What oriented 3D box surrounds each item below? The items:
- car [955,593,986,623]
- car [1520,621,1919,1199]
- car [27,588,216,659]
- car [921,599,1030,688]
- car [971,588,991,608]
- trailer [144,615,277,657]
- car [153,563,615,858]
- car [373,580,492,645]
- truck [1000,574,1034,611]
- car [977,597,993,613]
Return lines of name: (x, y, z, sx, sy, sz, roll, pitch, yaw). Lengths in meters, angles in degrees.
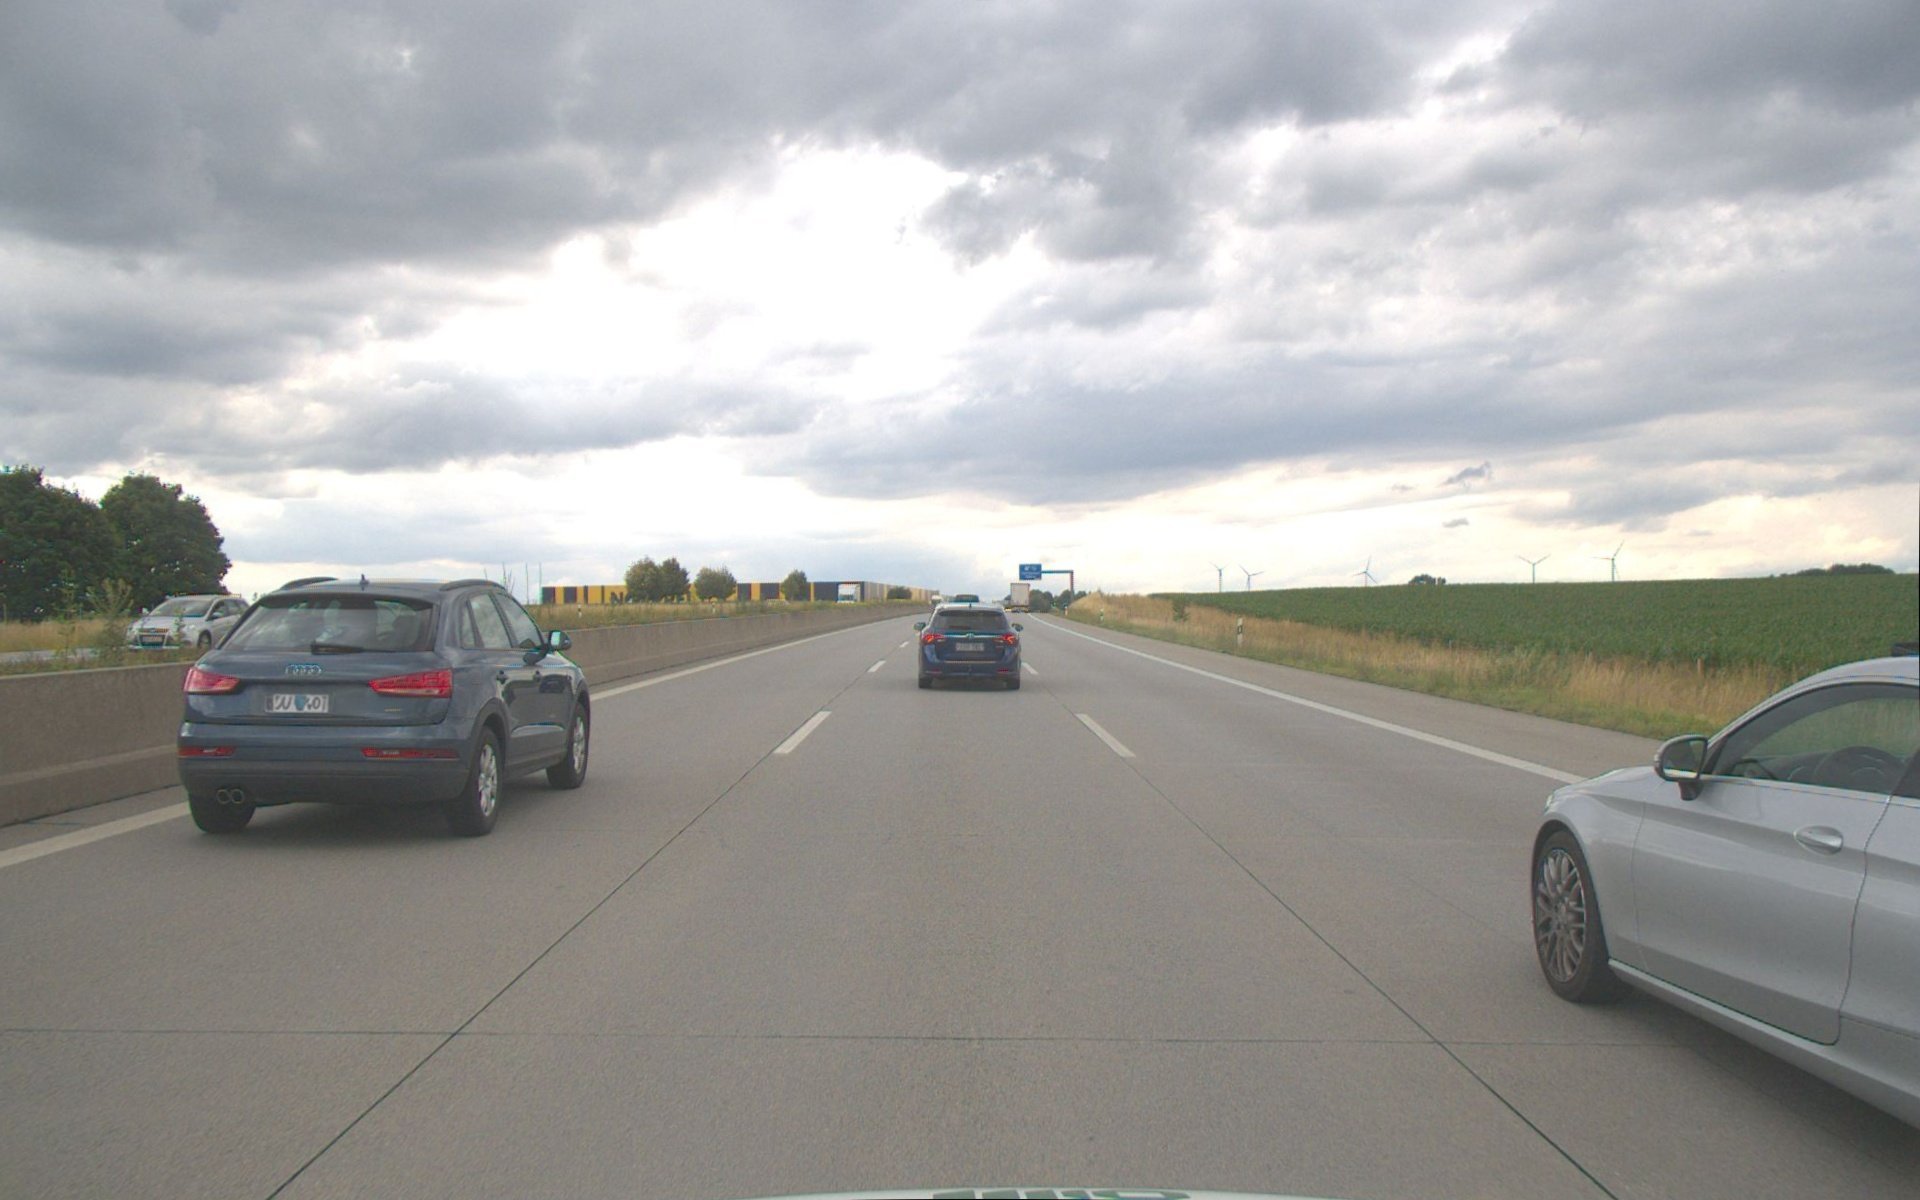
car: (0.721, 0.557, 116.894, 1.954, 2.049, 3.997, 1, -1, -4)
car: (3.233, 0.797, 4.671, 1.752, 1.428, 4.219, 0, 0, -2)
car: (-19.109, 0.530, 37.976, 1.858, 1.496, 4.849, 1, -1, 0)
car: (0.211, 0.723, 29.134, 1.739, 1.438, 3.998, 0, 0, -2)
car: (2.266, -0.211, 179.705, 1.953, 2.049, 3.999, 2, 0, -1)
trailer: (-19.075, 0.903, 42.255, 1.750, 1.000, 3.563, 1, -1, 0)
car: (-3.744, 0.618, 11.805, 1.757, 1.624, 5.153, 1, 0, -4)
car: (-14.932, 0.380, 47.081, 1.862, 1.723, 4.674, 1, -1, 0)
truck: (8.000, -0.998, 234.211, 3.871, 4.839, 12.070, 1, -1, -2)
car: (3.448, 0.694, 229.301, 1.953, 2.049, 3.998, 1, -1, -2)
